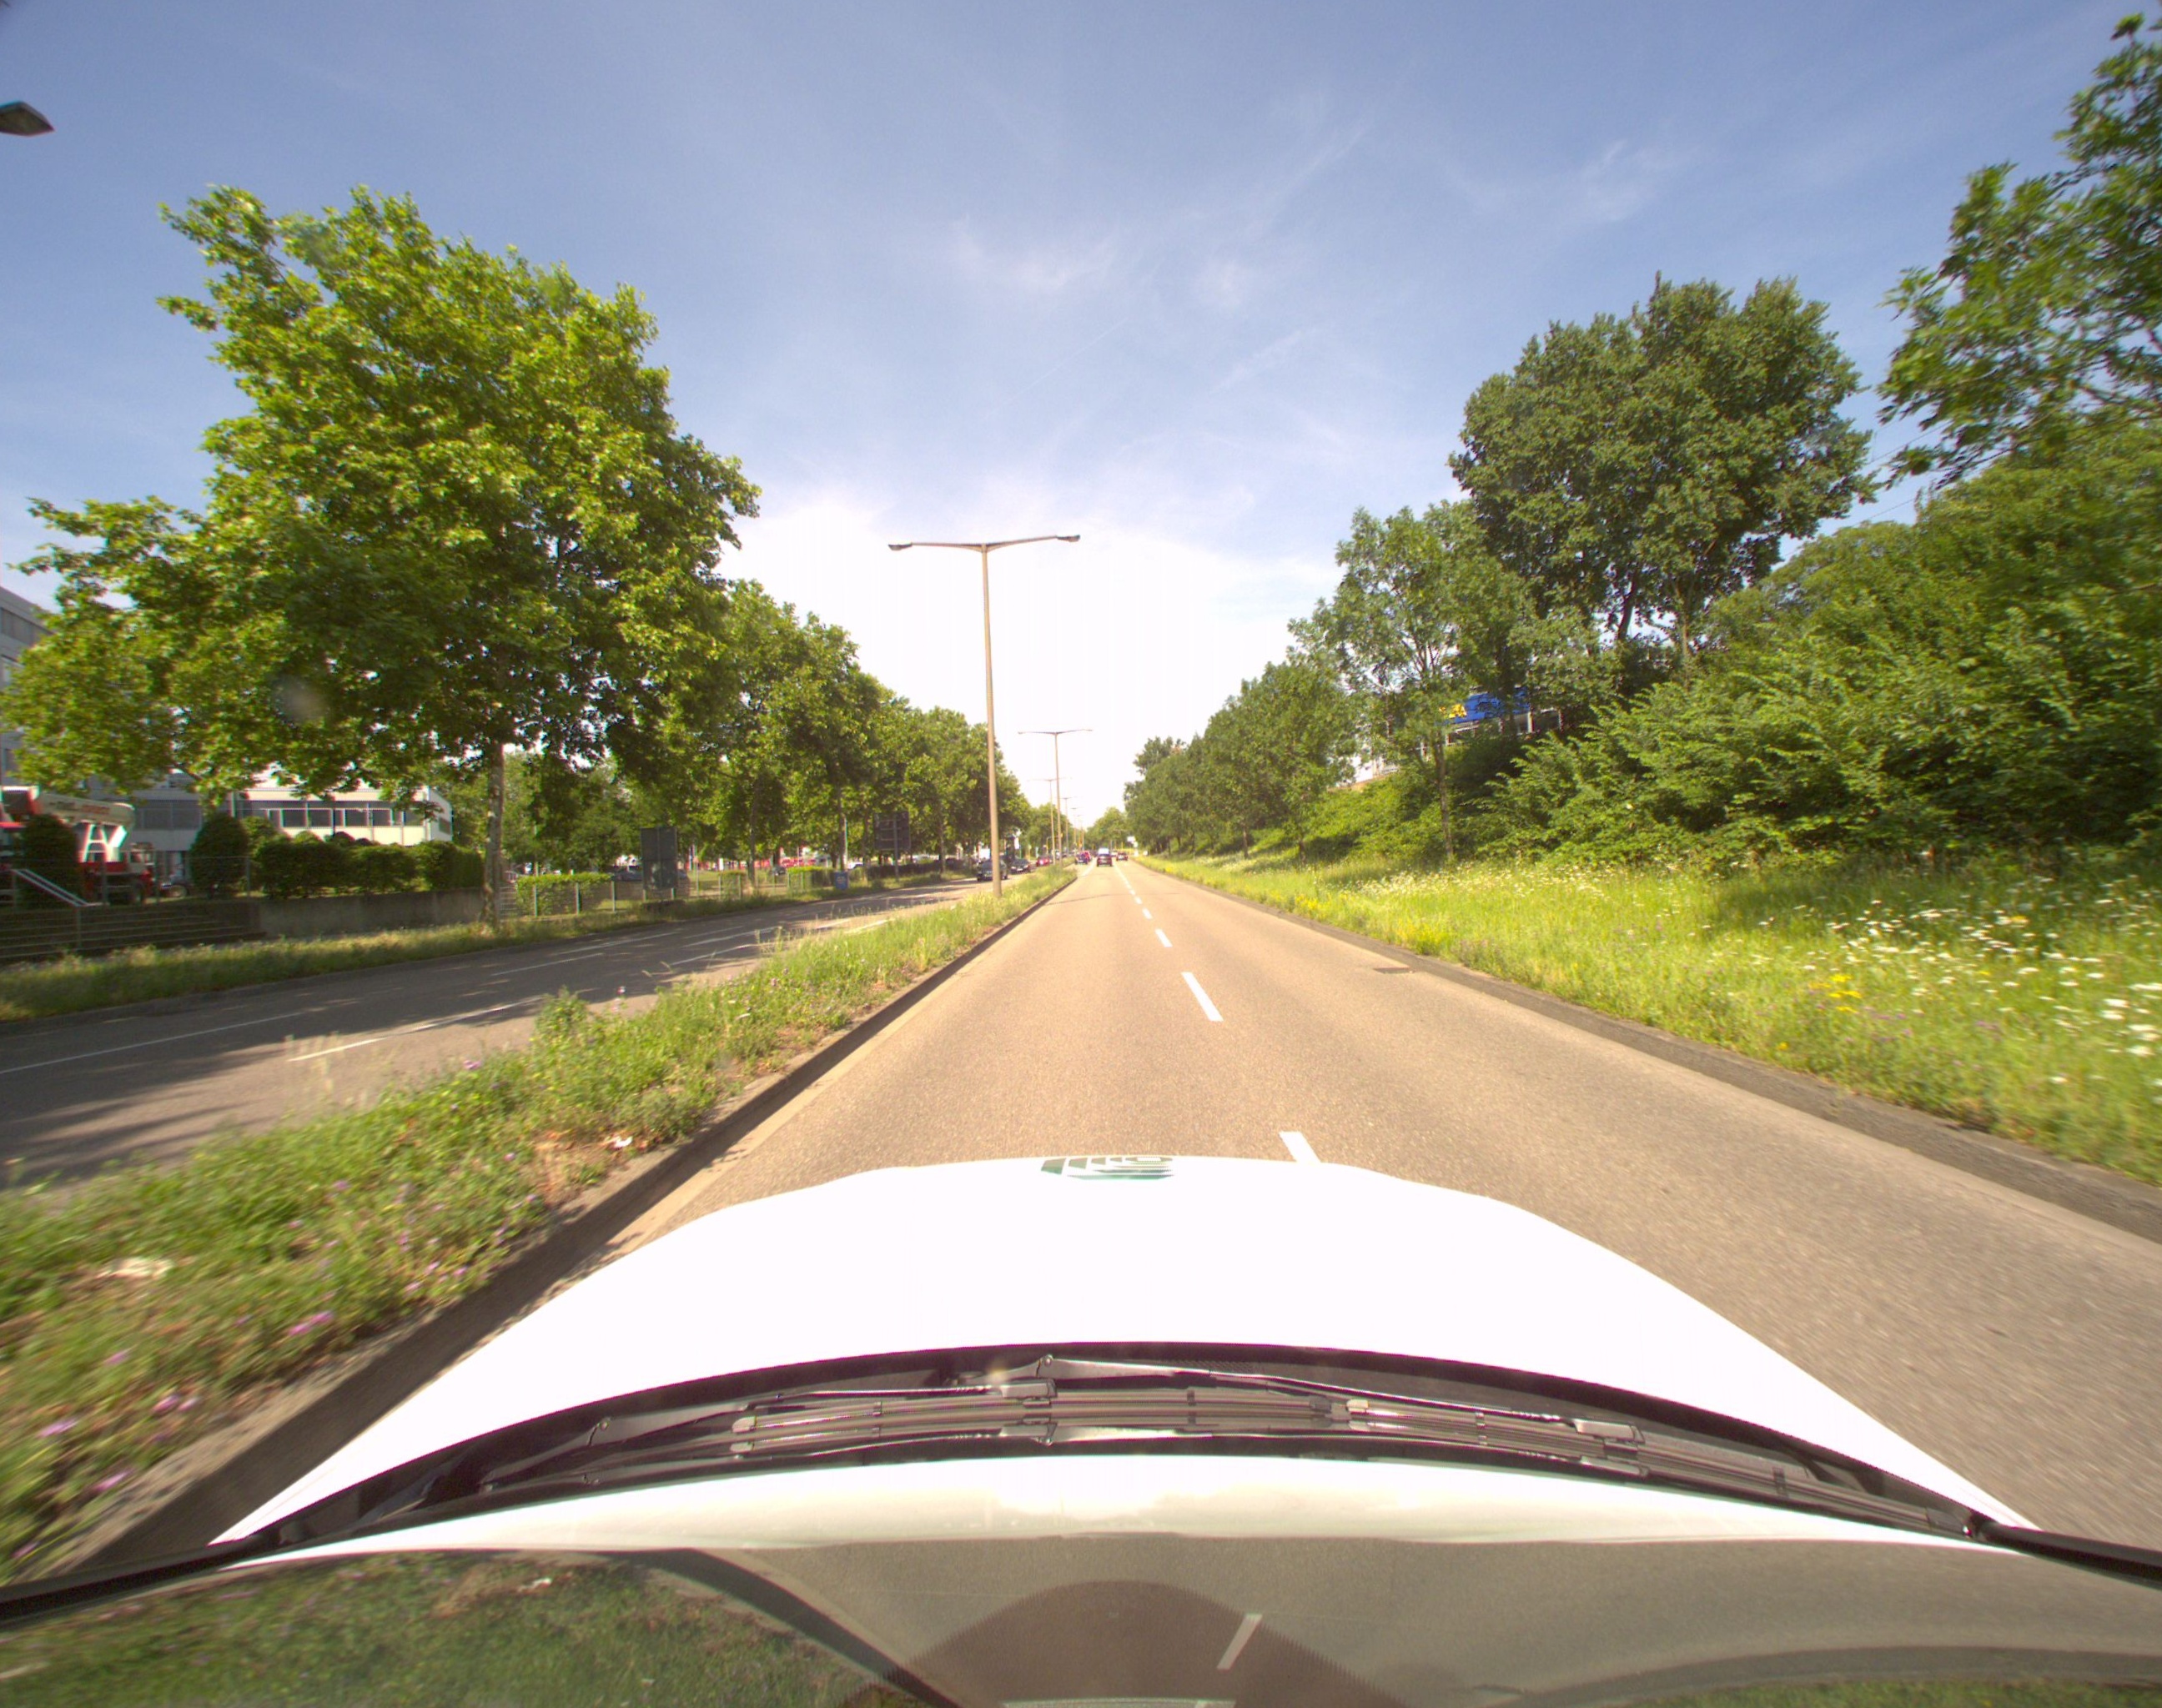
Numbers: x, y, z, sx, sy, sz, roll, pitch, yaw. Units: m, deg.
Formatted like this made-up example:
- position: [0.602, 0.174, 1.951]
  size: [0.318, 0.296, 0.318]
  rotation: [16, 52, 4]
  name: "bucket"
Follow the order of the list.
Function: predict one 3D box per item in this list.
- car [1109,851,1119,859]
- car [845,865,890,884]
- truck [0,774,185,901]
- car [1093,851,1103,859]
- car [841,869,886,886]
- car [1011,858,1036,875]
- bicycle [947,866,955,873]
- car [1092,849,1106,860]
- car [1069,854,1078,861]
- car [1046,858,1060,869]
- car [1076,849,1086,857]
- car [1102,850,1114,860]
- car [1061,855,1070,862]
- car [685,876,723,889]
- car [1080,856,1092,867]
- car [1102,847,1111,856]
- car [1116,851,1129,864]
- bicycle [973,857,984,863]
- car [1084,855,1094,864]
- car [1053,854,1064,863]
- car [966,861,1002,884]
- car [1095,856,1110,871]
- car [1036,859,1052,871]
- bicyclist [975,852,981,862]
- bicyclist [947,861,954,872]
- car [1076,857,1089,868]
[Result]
- position: [7.003, 0.236, 171.140]
  size: [1.986, 1.708, 4.265]
  rotation: [-2, 0, 2]
  name: "car"
- position: [-22.308, 2.133, 85.274]
  size: [3.968, 1.823, 2.159]
  rotation: [-2, -1, 5]
  name: "car"
- position: [-31.357, -0.332, 25.321]
  size: [2.685, 3.395, 8.892]
  rotation: [-2, 0, -35]
  name: "truck"
- position: [3.676, 0.164, 173.539]
  size: [1.927, 1.647, 4.002]
  rotation: [-2, 0, 2]
  name: "car"
- position: [-21.854, 2.321, 82.052]
  size: [3.971, 1.464, 1.773]
  rotation: [-3, 0, 2]
  name: "car"
- position: [-5.410, 1.146, 77.193]
  size: [1.765, 1.467, 4.673]
  rotation: [-3, 0, 2]
  name: "car"
- position: [-17.377, 2.079, 108.681]
  size: [0.687, 0.866, 1.927]
  rotation: [-3, 0, 2]
  name: "bicycle"
- position: [2.732, 0.076, 125.067]
  size: [1.986, 1.684, 4.001]
  rotation: [-2, 0, 1]
  name: "car"
- position: [-1.860, 0.908, 204.789]
  size: [1.985, 1.775, 4.004]
  rotation: [-3, 0, 4]
  name: "car"
- position: [-4.200, 1.408, 122.702]
  size: [1.833, 1.478, 4.167]
  rotation: [-3, 0, 1]
  name: "car"
- position: [0.000, -0.177, 198.118]
  size: [1.985, 1.860, 4.003]
  rotation: [-2, 0, 3]
  name: "car"
- position: [4.848, 0.156, 146.939]
  size: [1.986, 1.708, 4.265]
  rotation: [-2, 0, 2]
  name: "car"
- position: [-3.958, 1.149, 207.863]
  size: [1.986, 1.530, 4.684]
  rotation: [-3, 0, 2]
  name: "car"
- position: [-46.739, 3.552, 100.981]
  size: [3.955, 1.504, 1.814]
  rotation: [-1, 2, 17]
  name: "car"
- position: [0.737, 1.149, 128.805]
  size: [1.776, 1.593, 4.594]
  rotation: [-1, 0, 1]
  name: "car"
- position: [6.179, -0.623, 197.690]
  size: [1.988, 2.013, 3.997]
  rotation: [-2, 0, -2]
  name: "car"
- position: [6.736, 0.499, 132.533]
  size: [2.010, 1.837, 4.003]
  rotation: [-2, 2, 2]
  name: "car"
- position: [-19.345, 1.160, 153.428]
  size: [1.962, 0.983, 0.781]
  rotation: [-3, 2, -35]
  name: "bicycle"
- position: [1.490, 1.016, 150.821]
  size: [1.874, 1.618, 4.213]
  rotation: [-2, 0, 1]
  name: "car"
- position: [-4.683, 0.899, 172.230]
  size: [2.110, 1.883, 5.419]
  rotation: [-3, 0, 1]
  name: "car"
- position: [-6.730, 1.236, 57.083]
  size: [1.821, 1.467, 4.987]
  rotation: [-3, 0, 0]
  name: "car"
- position: [2.585, 1.151, 97.139]
  size: [1.730, 1.535, 4.003]
  rotation: [-2, 2, 2]
  name: "car"
- position: [-4.902, 1.494, 109.286]
  size: [1.756, 1.462, 4.002]
  rotation: [-4, 0, 2]
  name: "car"
- position: [-19.420, 0.571, 153.363]
  size: [0.904, 1.715, 0.774]
  rotation: [-3, 2, -34]
  name: "bicyclist"
- position: [-17.400, 1.635, 108.642]
  size: [0.679, 1.485, 0.942]
  rotation: [-3, -1, 2]
  name: "bicyclist"
- position: [0.223, 1.098, 110.521]
  size: [1.620, 1.483, 4.049]
  rotation: [0, 0, 1]
  name: "car"
